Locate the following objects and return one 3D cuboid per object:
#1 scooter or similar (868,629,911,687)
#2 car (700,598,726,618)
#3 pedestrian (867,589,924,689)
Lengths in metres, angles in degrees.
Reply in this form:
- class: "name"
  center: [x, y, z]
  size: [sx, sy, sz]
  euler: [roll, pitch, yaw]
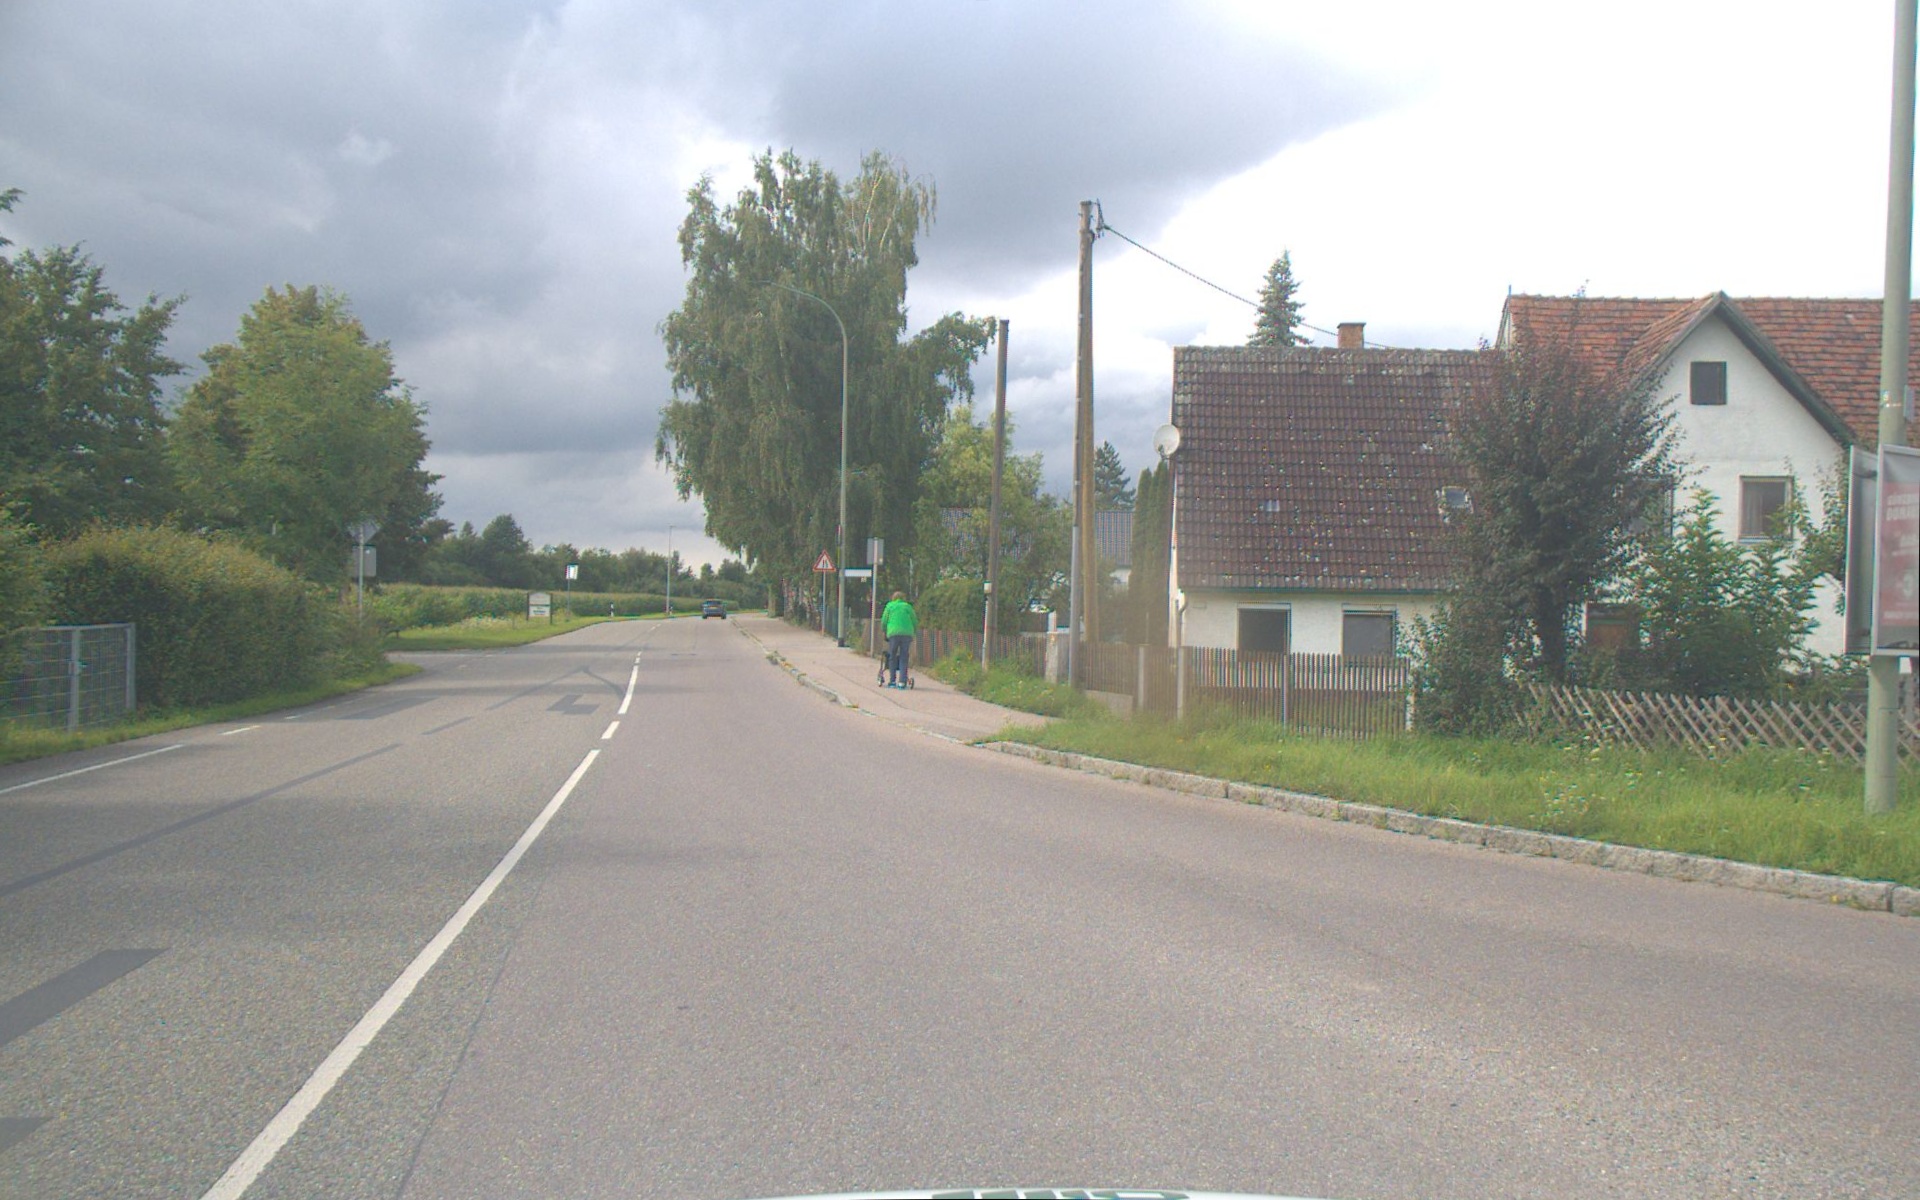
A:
- class: "scooter or similar"
  center: [-1.279, 1.046, 29.988]
  size: [0.620, 0.964, 0.620]
  euler: [5, -1, -13]
- class: "car"
  center: [-20.377, 0.662, 136.348]
  size: [1.957, 1.579, 3.990]
  euler: [1, 0, -10]
- class: "pedestrian"
  center: [-1.145, 0.688, 29.303]
  size: [0.775, 1.694, 0.710]
  euler: [5, -1, -13]
